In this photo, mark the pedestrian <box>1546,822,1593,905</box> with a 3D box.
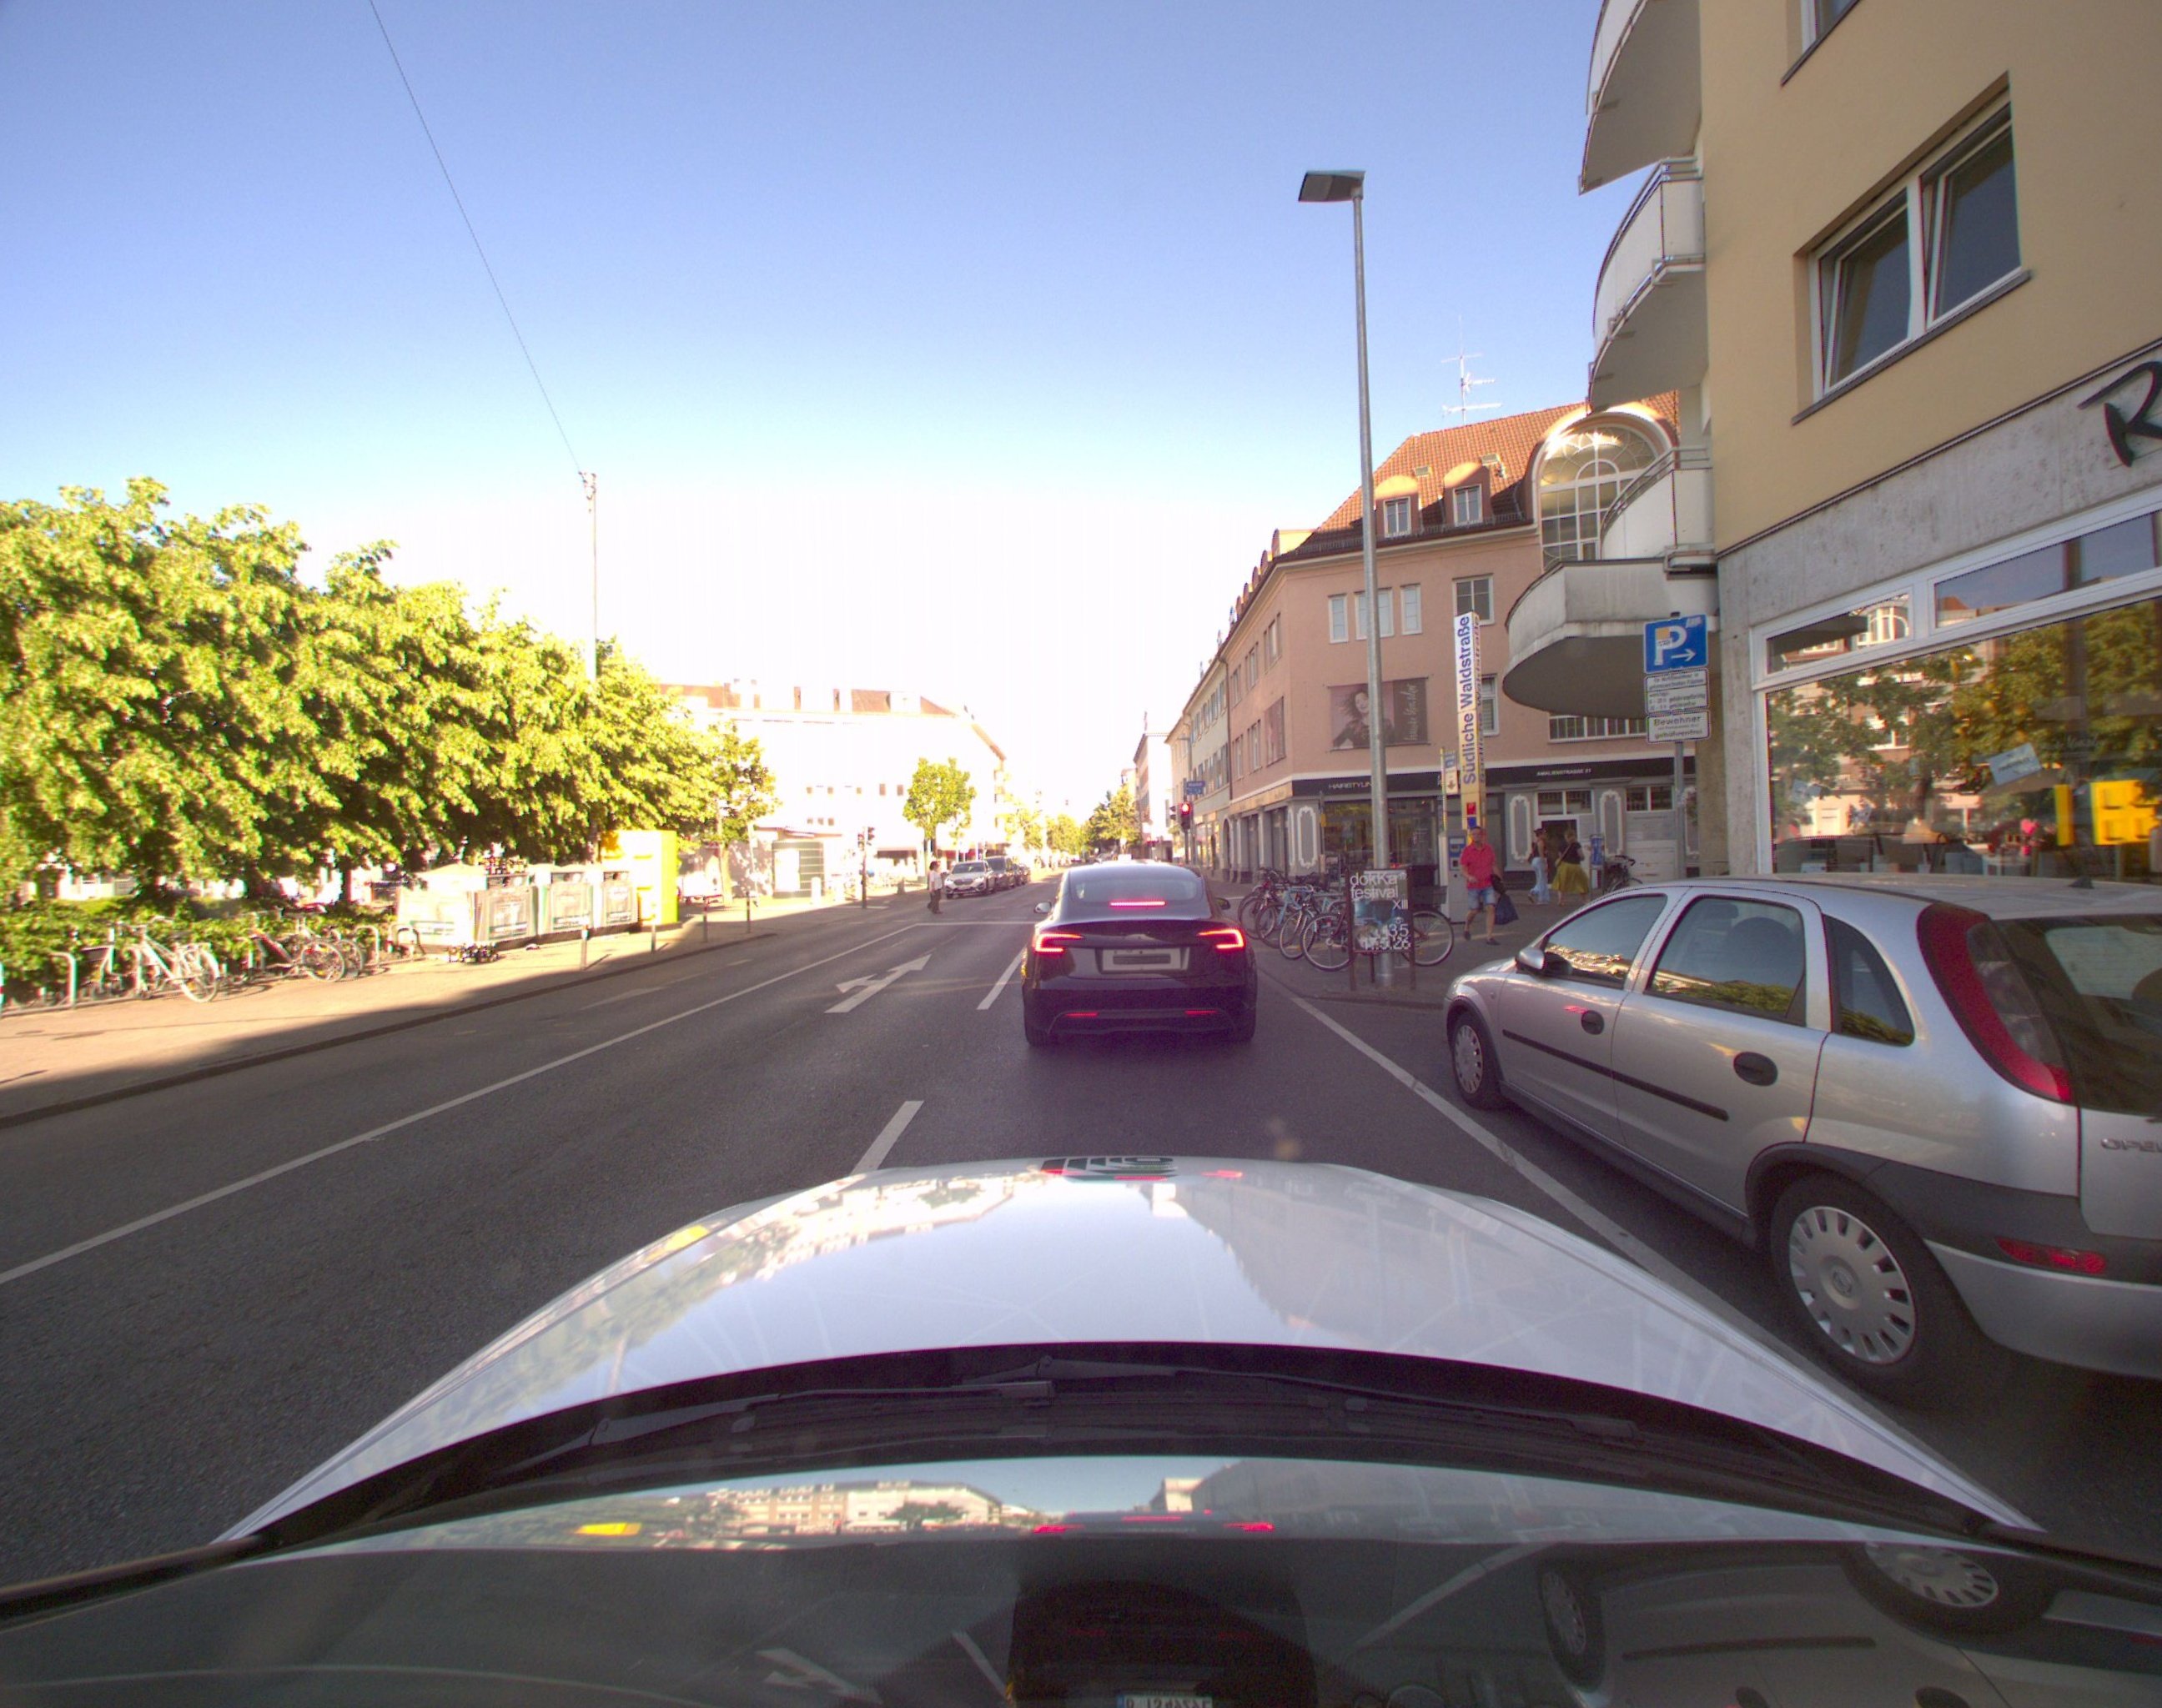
[{"bbox_3d":[10.789,0.209,17.976,0.714,1.754,0.793,-5,-1,37],"label":"pedestrian"}]

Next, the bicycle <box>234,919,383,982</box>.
[{"bbox_3d":[-11.463,1.424,12.109,1.663,0.859,0.469,0,-1,-5],"label":"bicycle"}]

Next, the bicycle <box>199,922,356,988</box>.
[{"bbox_3d":[-11.428,1.423,11.610,1.667,0.859,0.469,0,-1,-5],"label":"bicycle"}]

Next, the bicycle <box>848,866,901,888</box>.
[{"bbox_3d":[-12.157,1.361,47.991,2.867,1.270,0.942,0,-1,-1],"label":"bicycle"}]

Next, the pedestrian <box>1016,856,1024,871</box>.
[{"bbox_3d":[-7.300,1.131,97.339,0.734,1.868,0.787,0,-1,-15],"label":"pedestrian"}]

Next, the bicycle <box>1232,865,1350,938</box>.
[{"bbox_3d":[3.495,0.776,13.649,1.806,1.152,0.653,-1,0,3],"label":"bicycle"}]

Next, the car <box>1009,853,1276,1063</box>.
[{"bbox_3d":[0.494,0.739,7.890,1.843,1.447,4.453,0,0,2],"label":"car"}]

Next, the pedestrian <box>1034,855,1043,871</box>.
[{"bbox_3d":[-4.902,1.094,94.855,0.726,1.868,0.796,-1,-1,30],"label":"pedestrian"}]

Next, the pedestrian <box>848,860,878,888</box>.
[{"bbox_3d":[-12.625,1.163,47.099,1.251,1.611,1.102,-1,-1,24],"label":"pedestrian"}]

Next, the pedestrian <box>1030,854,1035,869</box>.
[{"bbox_3d":[-6.218,0.973,104.232,0.693,1.868,0.658,0,-1,-3],"label":"pedestrian"}]

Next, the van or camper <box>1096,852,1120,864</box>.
[{"bbox_3d":[5.632,0.845,167.668,4.832,2.438,1.851,-1,0,1],"label":"van or camper"}]

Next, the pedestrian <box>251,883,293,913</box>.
[{"bbox_3d":[-33.386,1.813,33.622,0.857,1.214,0.904,-1,-1,17],"label":"pedestrian"}]

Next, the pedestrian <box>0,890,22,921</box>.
[{"bbox_3d":[-66.963,3.209,50.466,1.305,1.842,1.091,0,-1,-31],"label":"pedestrian"}]

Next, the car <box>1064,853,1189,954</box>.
[{"bbox_3d":[0.740,0.750,14.314,1.843,1.482,4.453,0,0,2],"label":"car"}]

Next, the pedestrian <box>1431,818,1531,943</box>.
[{"bbox_3d":[5.794,0.375,11.873,1.051,1.719,1.117,-1,-1,12],"label":"pedestrian"}]

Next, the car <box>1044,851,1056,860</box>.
[{"bbox_3d":[-7.166,0.281,188.740,2.266,2.014,4.720,0,-1,3],"label":"car"}]

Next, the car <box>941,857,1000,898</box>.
[{"bbox_3d":[-4.886,1.015,36.605,1.818,1.565,4.302,-5,-1,2],"label":"car"}]

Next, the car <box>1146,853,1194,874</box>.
[{"bbox_3d":[8.144,0.871,74.657,4.006,1.867,1.686,-1,0,-20],"label":"car"}]

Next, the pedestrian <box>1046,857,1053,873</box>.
[{"bbox_3d":[-3.718,1.302,95.846,0.695,1.868,0.906,0,-1,-11],"label":"pedestrian"}]

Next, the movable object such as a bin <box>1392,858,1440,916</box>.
[{"bbox_3d":[6.742,0.651,16.430,0.633,1.103,0.728,-4,-1,5],"label":"movable object such as a bin"}]

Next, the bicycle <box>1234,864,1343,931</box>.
[{"bbox_3d":[3.735,0.784,14.779,1.806,1.152,0.653,-1,0,3],"label":"bicycle"}]

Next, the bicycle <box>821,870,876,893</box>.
[{"bbox_3d":[-12.327,1.436,43.252,2.652,1.195,0.942,0,-1,-1],"label":"bicycle"}]

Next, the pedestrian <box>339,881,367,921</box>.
[{"bbox_3d":[-28.699,1.841,32.097,0.553,1.508,0.611,-1,-1,17],"label":"pedestrian"}]

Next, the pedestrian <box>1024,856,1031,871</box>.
[{"bbox_3d":[-6.408,1.126,97.519,0.734,1.868,0.787,0,-1,-15],"label":"pedestrian"}]

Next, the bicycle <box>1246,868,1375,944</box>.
[{"bbox_3d":[3.517,0.791,12.574,1.806,1.102,0.653,-1,0,3],"label":"bicycle"}]

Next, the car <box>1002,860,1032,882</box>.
[{"bbox_3d":[-4.429,1.152,57.015,1.688,1.390,3.915,-3,-1,0],"label":"car"}]

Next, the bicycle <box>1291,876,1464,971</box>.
[{"bbox_3d":[3.634,0.846,10.090,1.875,1.044,0.653,-2,0,3],"label":"bicycle"}]

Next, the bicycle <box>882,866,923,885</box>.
[{"bbox_3d":[-12.055,1.418,55.012,2.535,1.251,0.942,0,-1,-1],"label":"bicycle"}]

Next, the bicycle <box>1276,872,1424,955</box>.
[{"bbox_3d":[3.654,0.798,11.163,1.806,1.060,0.653,-1,0,3],"label":"bicycle"}]

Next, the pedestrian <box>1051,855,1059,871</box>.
[{"bbox_3d":[-3.055,1.089,95.885,0.775,1.868,1.005,0,-1,-11],"label":"pedestrian"}]

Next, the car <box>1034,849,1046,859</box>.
[{"bbox_3d":[-9.021,-0.021,180.145,2.266,2.014,4.720,0,-1,3],"label":"car"}]

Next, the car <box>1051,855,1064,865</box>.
[{"bbox_3d":[-4.861,1.315,166.816,2.405,1.970,4.679,-1,0,2],"label":"car"}]

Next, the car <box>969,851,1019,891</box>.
[{"bbox_3d":[-4.498,0.834,42.928,1.938,1.947,4.822,-1,0,2],"label":"car"}]

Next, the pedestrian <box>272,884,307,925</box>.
[{"bbox_3d":[-30.293,1.911,31.167,0.928,1.520,0.924,0,-1,-43],"label":"pedestrian"}]

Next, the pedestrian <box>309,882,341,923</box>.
[{"bbox_3d":[-29.166,1.847,31.424,0.827,1.520,0.782,-1,-1,38],"label":"pedestrian"}]

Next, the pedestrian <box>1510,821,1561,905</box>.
[{"bbox_3d":[10.463,0.207,18.739,0.674,1.849,0.899,-6,-2,44],"label":"pedestrian"}]

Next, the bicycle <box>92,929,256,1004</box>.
[{"bbox_3d":[-11.463,1.417,10.313,1.560,0.886,0.470,0,-1,1],"label":"bicycle"}]

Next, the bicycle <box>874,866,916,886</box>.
[{"bbox_3d":[-12.001,1.398,52.584,2.535,1.251,0.942,0,-1,-1],"label":"bicycle"}]

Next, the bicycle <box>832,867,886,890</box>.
[{"bbox_3d":[-12.396,1.369,45.595,2.772,1.274,0.933,0,-1,-2],"label":"bicycle"}]

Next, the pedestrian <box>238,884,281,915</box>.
[{"bbox_3d":[-33.076,1.828,32.786,0.926,1.214,0.873,-1,-1,17],"label":"pedestrian"}]

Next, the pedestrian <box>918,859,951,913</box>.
[{"bbox_3d":[-4.312,0.929,24.080,0.921,1.543,0.693,0,-1,-8],"label":"pedestrian"}]

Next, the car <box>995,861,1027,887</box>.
[{"bbox_3d":[-4.259,1.203,50.054,1.455,1.430,3.607,-5,-1,2],"label":"car"}]

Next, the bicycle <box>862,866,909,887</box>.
[{"bbox_3d":[-12.056,1.385,50.309,2.655,1.259,0.942,0,-1,-1],"label":"bicycle"}]

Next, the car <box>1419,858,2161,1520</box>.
[{"bbox_3d":[2.959,0.739,3.554,1.578,1.426,3.581,0,-1,2],"label":"car"}]

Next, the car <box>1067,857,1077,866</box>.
[{"bbox_3d":[-2.000,1.769,187.436,2.124,1.970,4.135,-1,0,2],"label":"car"}]
